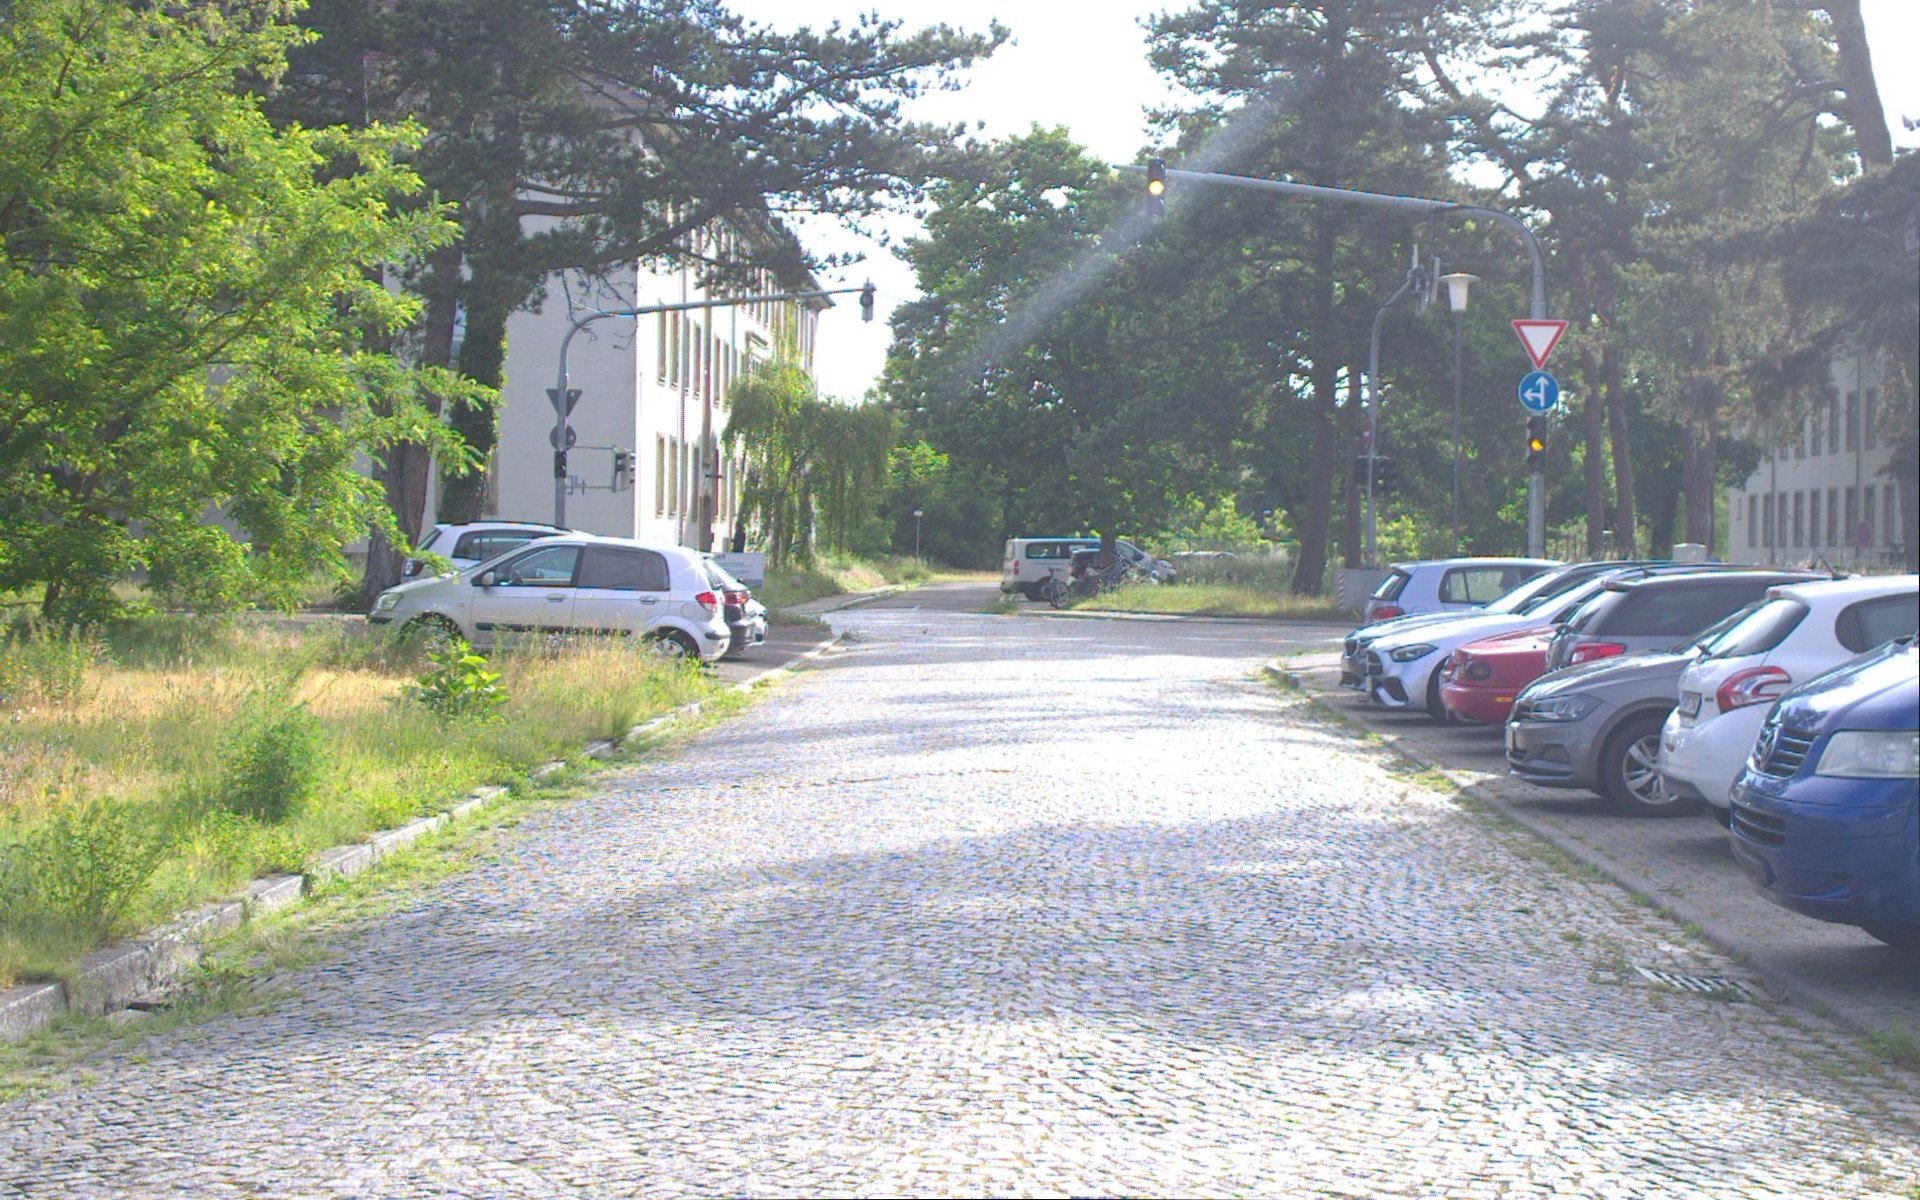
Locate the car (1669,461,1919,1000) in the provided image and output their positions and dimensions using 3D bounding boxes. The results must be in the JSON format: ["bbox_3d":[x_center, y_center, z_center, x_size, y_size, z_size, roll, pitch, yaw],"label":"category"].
[{"bbox_3d":[5.308,0.435,13.251,4.733,1.922,1.992,-1,0,1],"label":"car"}]

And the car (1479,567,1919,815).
[{"bbox_3d":[5.341,0.546,21.465,3.951,1.462,1.830,1,0,2],"label":"car"}]

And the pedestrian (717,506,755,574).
[{"bbox_3d":[-6.572,-1.767,100.873,0.985,1.956,0.932,1,0,1],"label":"pedestrian"}]

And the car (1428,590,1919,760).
[{"bbox_3d":[5.757,0.567,27.018,3.951,1.256,1.726,1,0,2],"label":"car"}]

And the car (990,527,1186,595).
[{"bbox_3d":[3.869,-1.179,104.163,5.499,1.909,2.255,1,0,-12],"label":"car"}]

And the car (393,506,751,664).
[{"bbox_3d":[-4.668,-0.184,41.832,4.121,1.594,1.859,4,0,-3],"label":"car"}]

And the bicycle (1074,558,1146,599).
[{"bbox_3d":[3.844,-0.554,88.227,1.793,0.995,0.644,1,2,0],"label":"bicycle"}]

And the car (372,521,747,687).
[{"bbox_3d":[-4.198,0.032,36.469,3.683,1.468,1.850,4,0,0],"label":"car"}]

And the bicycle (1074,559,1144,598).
[{"bbox_3d":[3.863,-0.559,89.248,1.793,0.995,0.644,1,2,0],"label":"bicycle"}]

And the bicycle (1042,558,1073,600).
[{"bbox_3d":[2.399,-0.526,84.677,0.728,0.995,1.799,1,2,1],"label":"bicycle"}]

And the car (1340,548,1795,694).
[{"bbox_3d":[6.487,0.213,37.050,4.544,1.500,1.933,1,0,0],"label":"car"}]

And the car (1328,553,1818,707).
[{"bbox_3d":[6.080,0.289,34.436,4.506,1.468,1.895,0,0,-2],"label":"car"}]

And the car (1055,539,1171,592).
[{"bbox_3d":[4.463,-1.012,100.580,3.031,1.460,1.720,1,0,-11],"label":"car"}]

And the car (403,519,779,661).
[{"bbox_3d":[-4.708,-0.147,44.377,4.587,1.450,1.903,4,2,-1],"label":"car"}]

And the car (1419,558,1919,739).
[{"bbox_3d":[6.202,0.397,29.382,4.341,1.468,1.740,1,0,1],"label":"car"}]

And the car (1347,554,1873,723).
[{"bbox_3d":[5.912,0.336,31.661,4.507,1.468,1.849,1,0,1],"label":"car"}]

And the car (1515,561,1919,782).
[{"bbox_3d":[6.043,0.490,24.369,3.951,1.490,1.772,1,0,2],"label":"car"}]

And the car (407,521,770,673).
[{"bbox_3d":[-4.177,-0.036,39.124,3.829,1.424,1.859,4,0,1],"label":"car"}]

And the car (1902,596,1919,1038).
[{"bbox_3d":[5.305,0.742,10.741,4.190,1.465,1.808,0,0,-2],"label":"car"}]

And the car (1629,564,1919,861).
[{"bbox_3d":[5.725,0.586,18.596,3.874,1.525,1.808,1,0,2],"label":"car"}]
